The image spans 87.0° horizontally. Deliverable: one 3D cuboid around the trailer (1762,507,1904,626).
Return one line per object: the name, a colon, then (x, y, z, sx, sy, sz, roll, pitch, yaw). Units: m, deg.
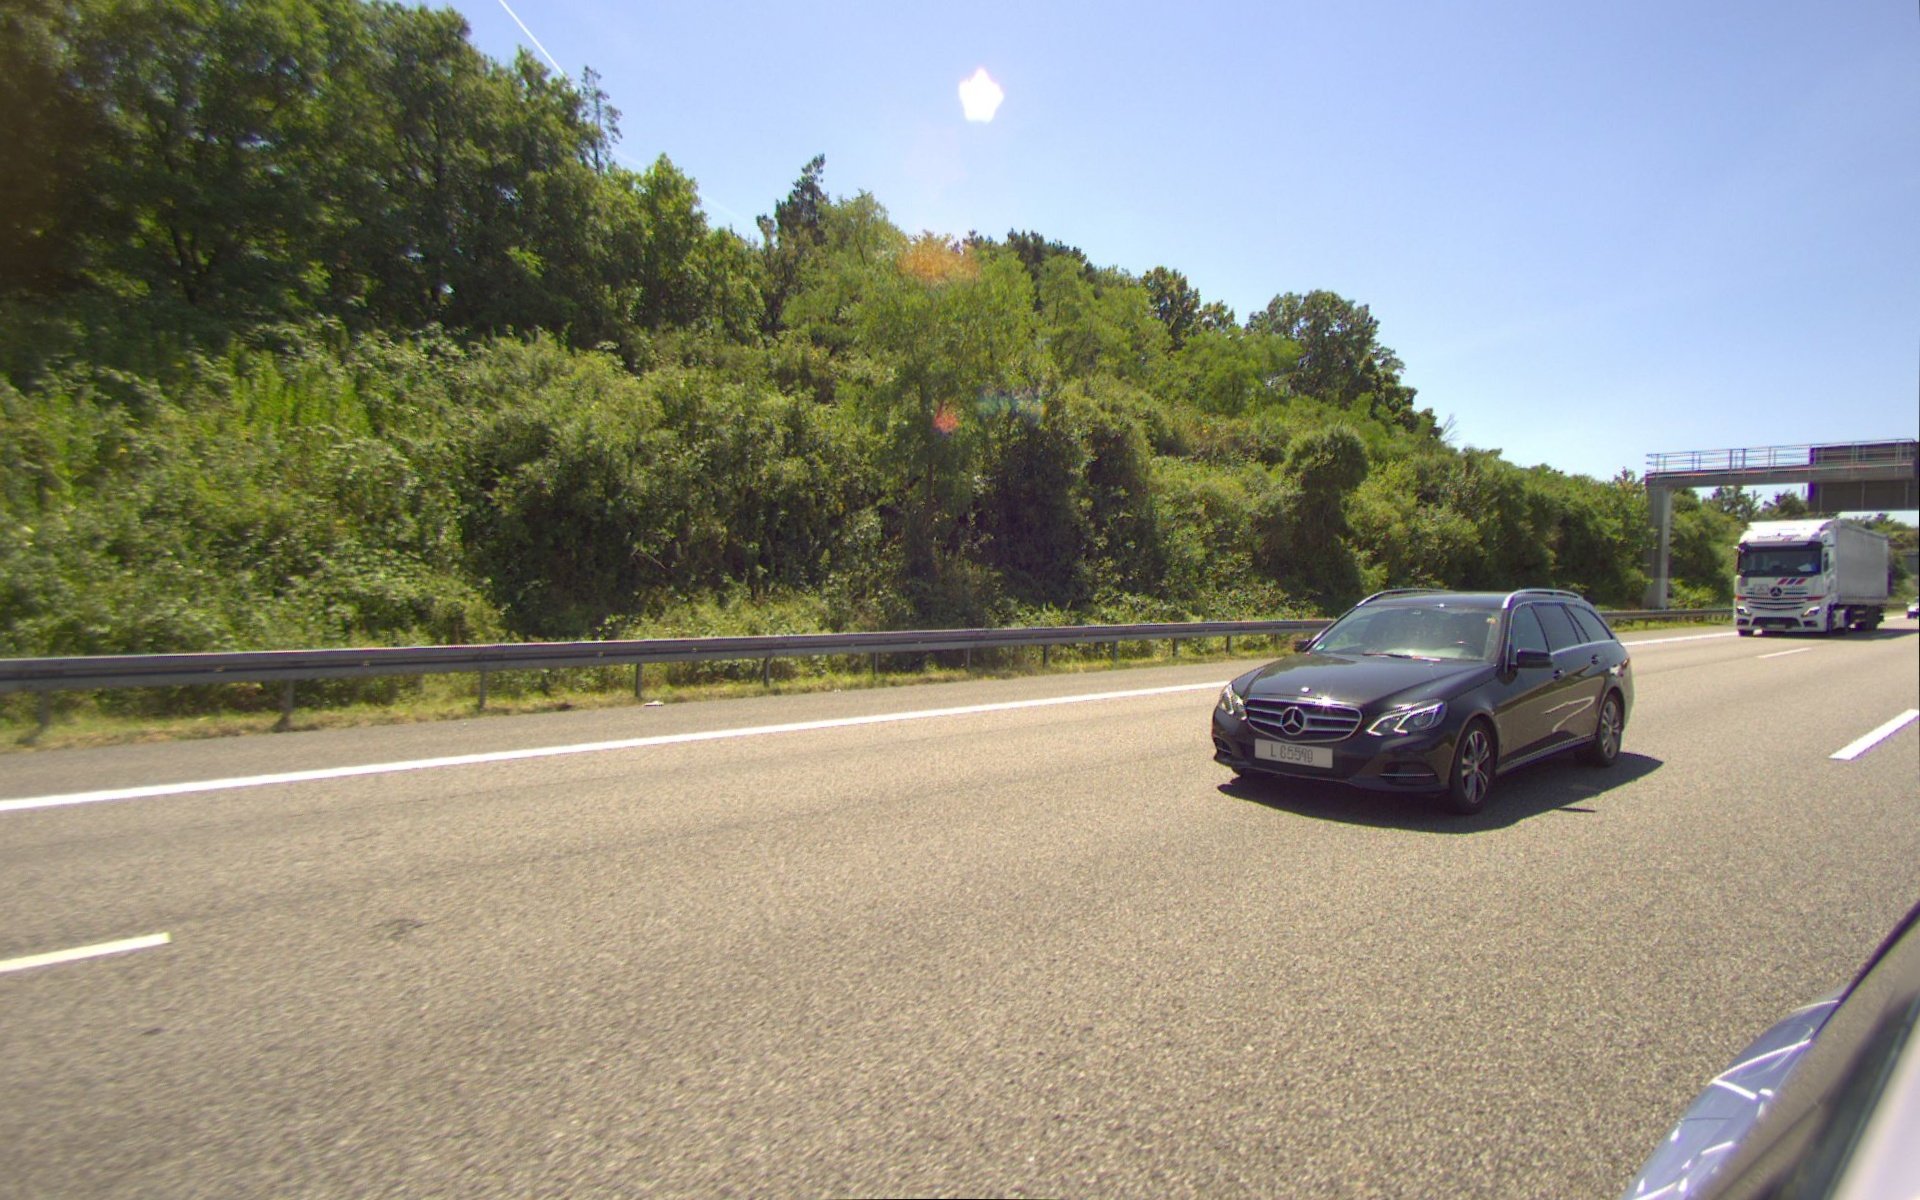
trailer: (35.493, -1.244, 40.885, 12.963, 4.154, 2.733, 0, 1, -42)

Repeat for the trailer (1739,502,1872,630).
trailer: (30.329, -1.151, 36.198, 6.672, 4.154, 2.717, 0, 1, -42)

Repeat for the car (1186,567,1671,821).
car: (4.036, 0.559, 8.299, 4.654, 1.524, 1.845, 0, 0, -40)

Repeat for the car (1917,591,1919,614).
car: (62.205, 0.129, 64.223, 4.480, 1.429, 1.838, 0, 0, -42)
